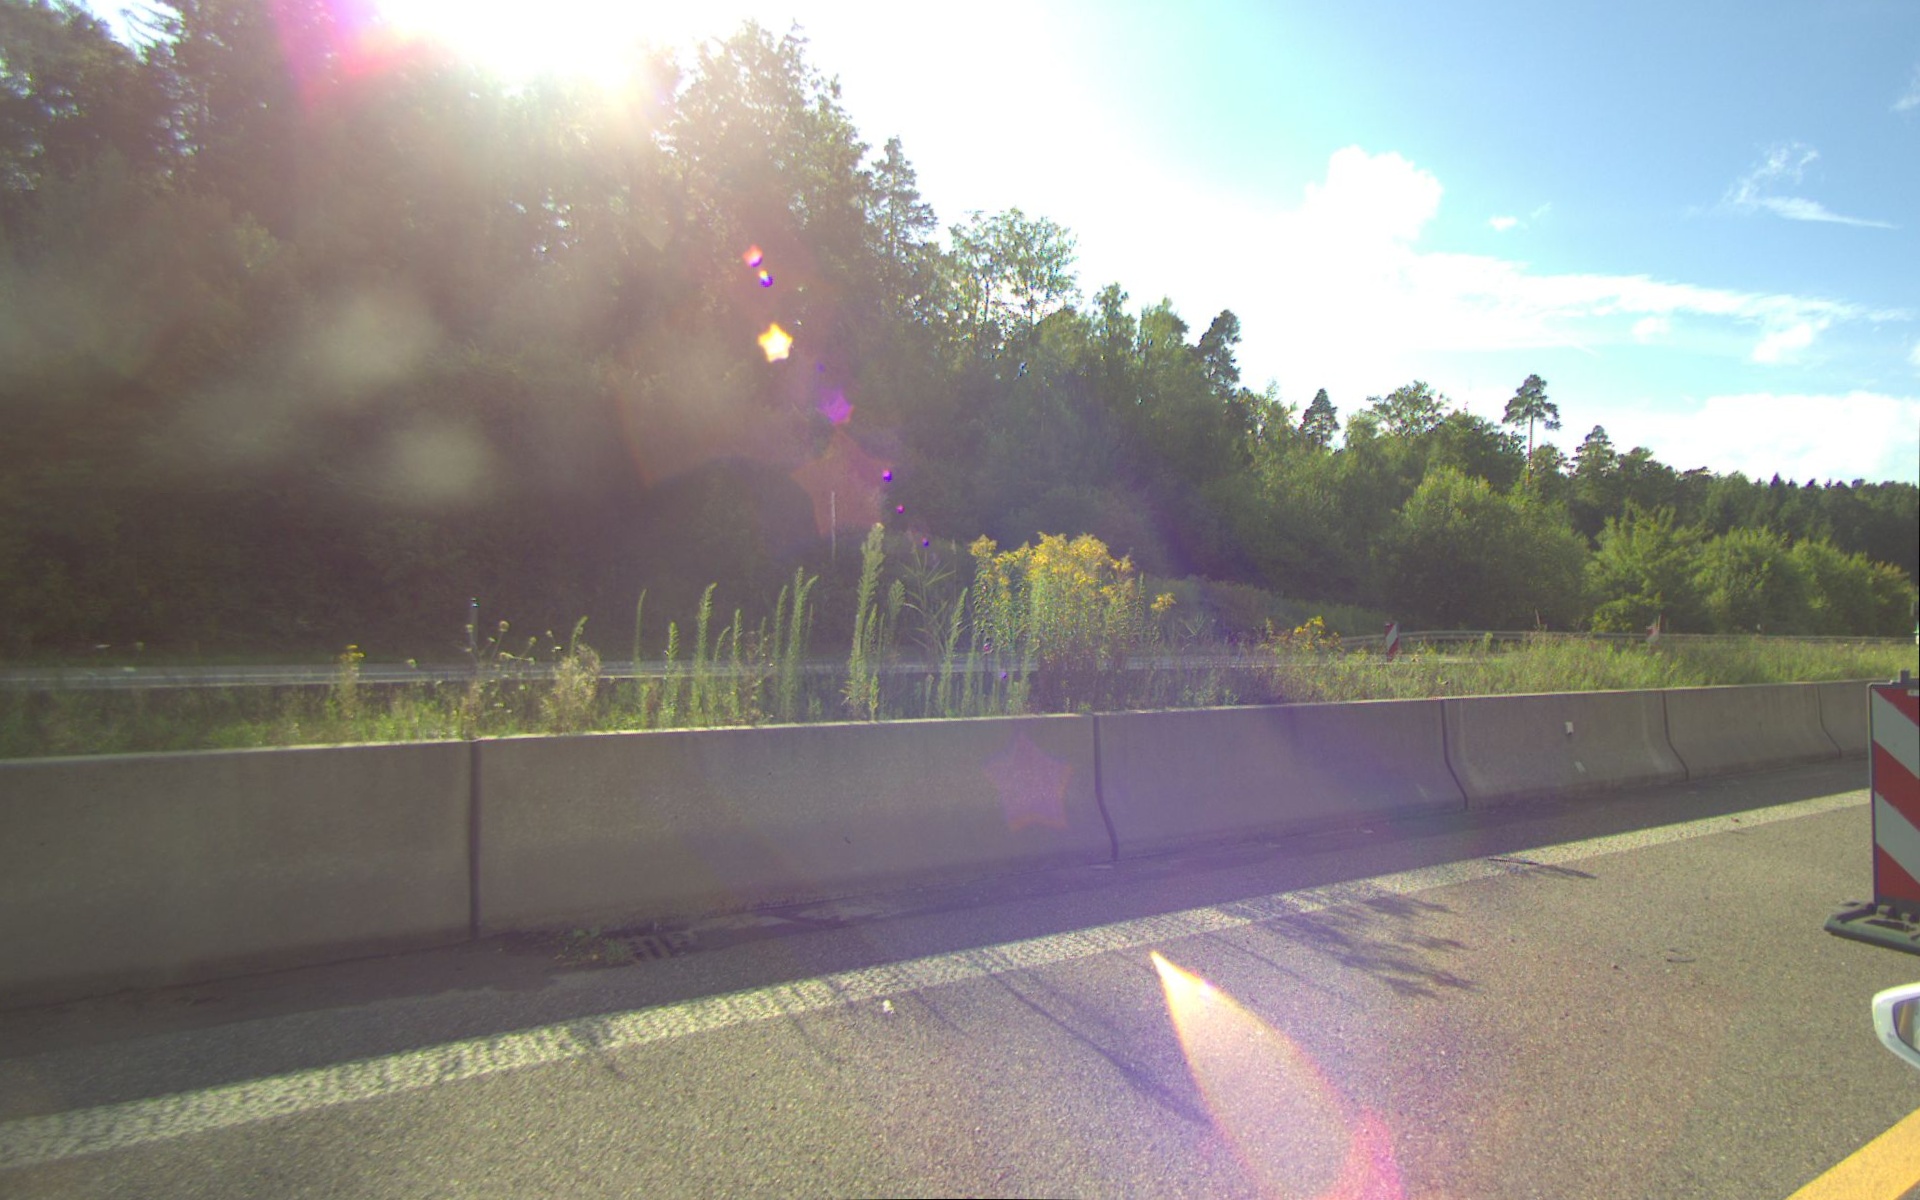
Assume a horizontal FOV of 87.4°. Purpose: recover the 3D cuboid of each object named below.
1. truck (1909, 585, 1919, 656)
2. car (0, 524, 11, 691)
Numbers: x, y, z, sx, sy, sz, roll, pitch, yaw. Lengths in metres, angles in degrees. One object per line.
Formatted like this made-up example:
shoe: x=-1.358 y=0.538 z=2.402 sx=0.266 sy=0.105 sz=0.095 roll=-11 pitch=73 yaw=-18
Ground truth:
truck: x=50.444 y=1.080 z=50.428 sx=4.881 sy=3.536 sz=2.772 roll=2 pitch=0 yaw=-30
car: x=-18.115 y=0.041 z=14.202 sx=6.446 sy=2.720 sz=2.018 roll=2 pitch=0 yaw=-30
